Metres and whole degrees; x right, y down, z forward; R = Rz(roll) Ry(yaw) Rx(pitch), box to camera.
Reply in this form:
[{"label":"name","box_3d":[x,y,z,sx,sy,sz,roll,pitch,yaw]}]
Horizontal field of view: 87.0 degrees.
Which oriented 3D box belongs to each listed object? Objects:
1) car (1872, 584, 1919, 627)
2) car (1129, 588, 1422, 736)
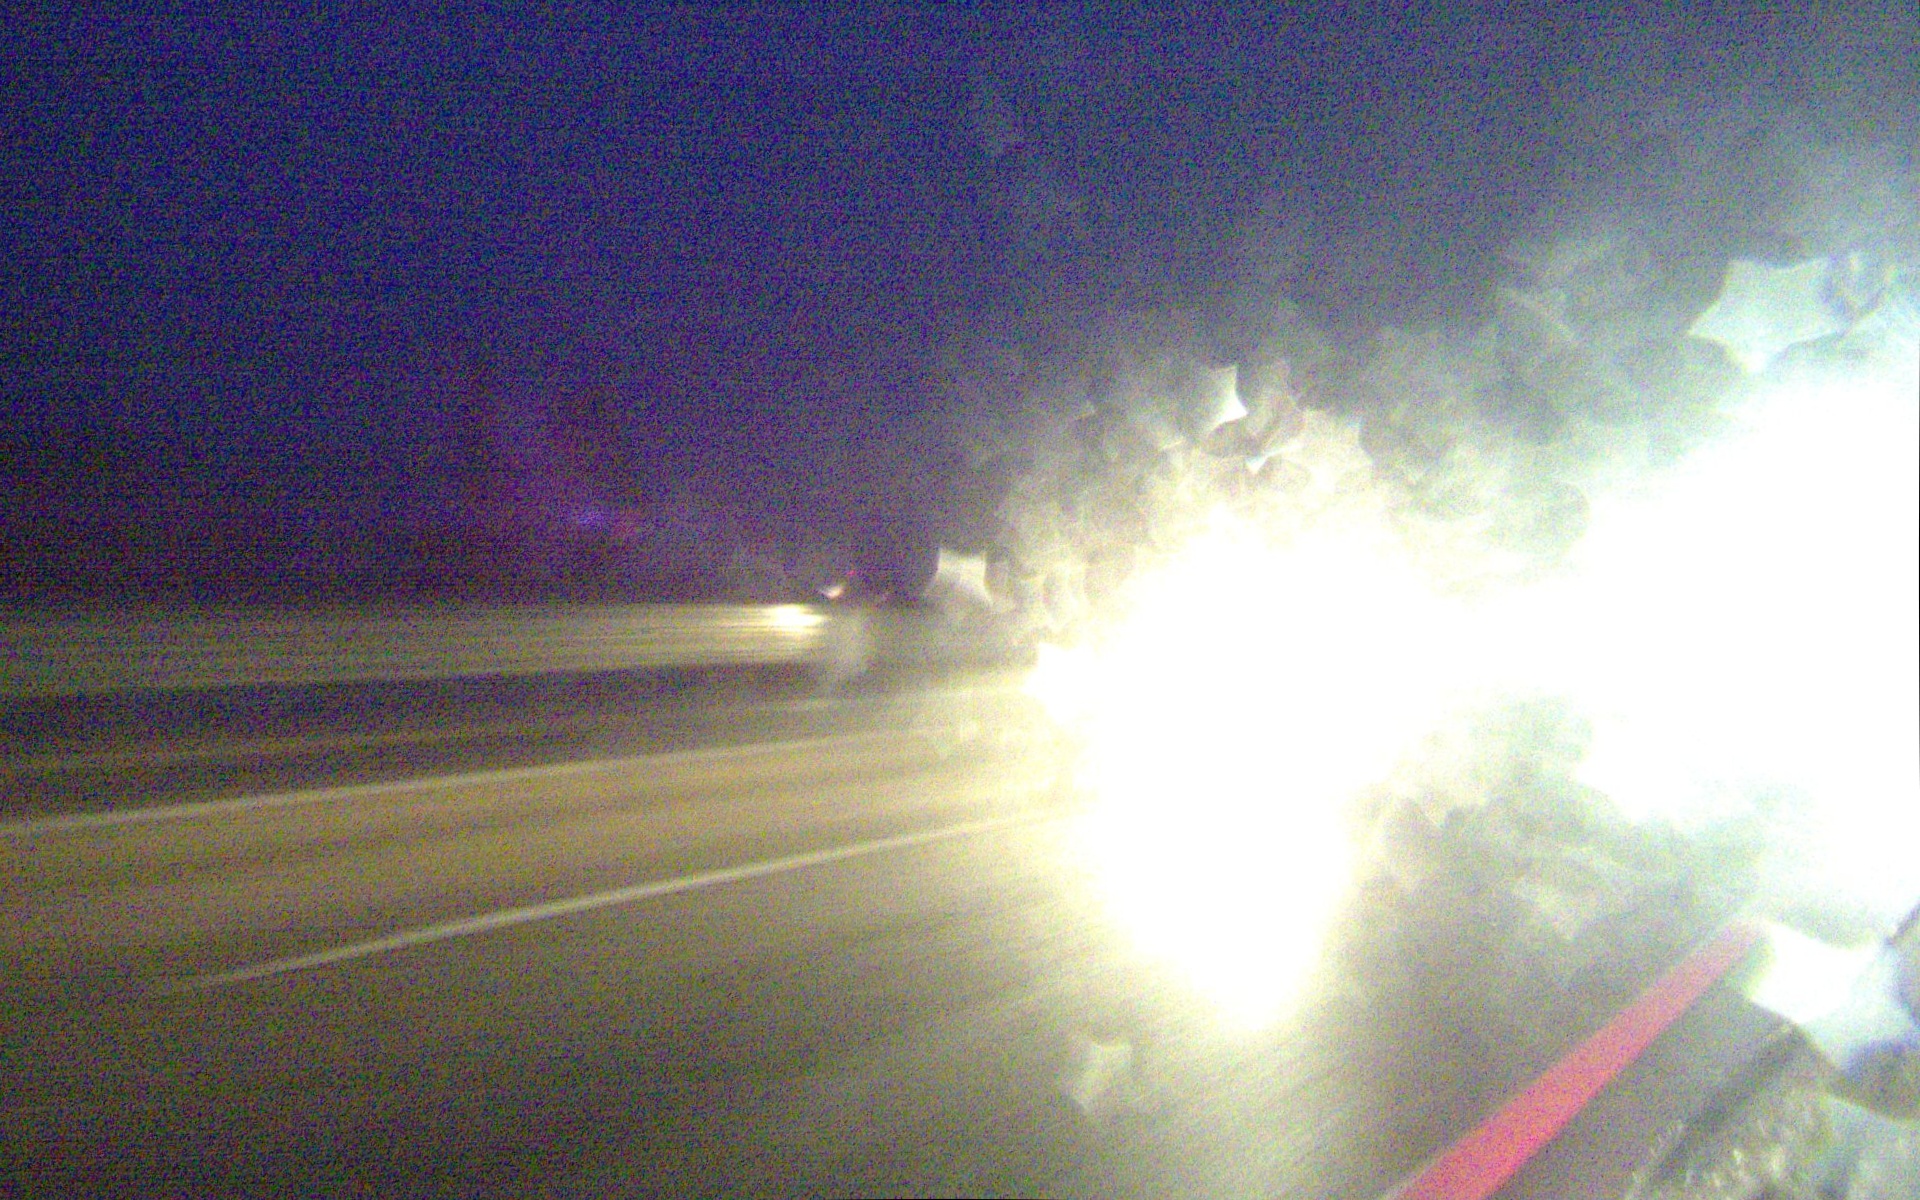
[{"label":"car","box_3d":[43.257,0.274,46.231,4.616,1.870,1.830,1,-1,-41]},{"label":"car","box_3d":[3.984,0.638,12.458,3.943,1.522,1.642,0,1,-41]}]
